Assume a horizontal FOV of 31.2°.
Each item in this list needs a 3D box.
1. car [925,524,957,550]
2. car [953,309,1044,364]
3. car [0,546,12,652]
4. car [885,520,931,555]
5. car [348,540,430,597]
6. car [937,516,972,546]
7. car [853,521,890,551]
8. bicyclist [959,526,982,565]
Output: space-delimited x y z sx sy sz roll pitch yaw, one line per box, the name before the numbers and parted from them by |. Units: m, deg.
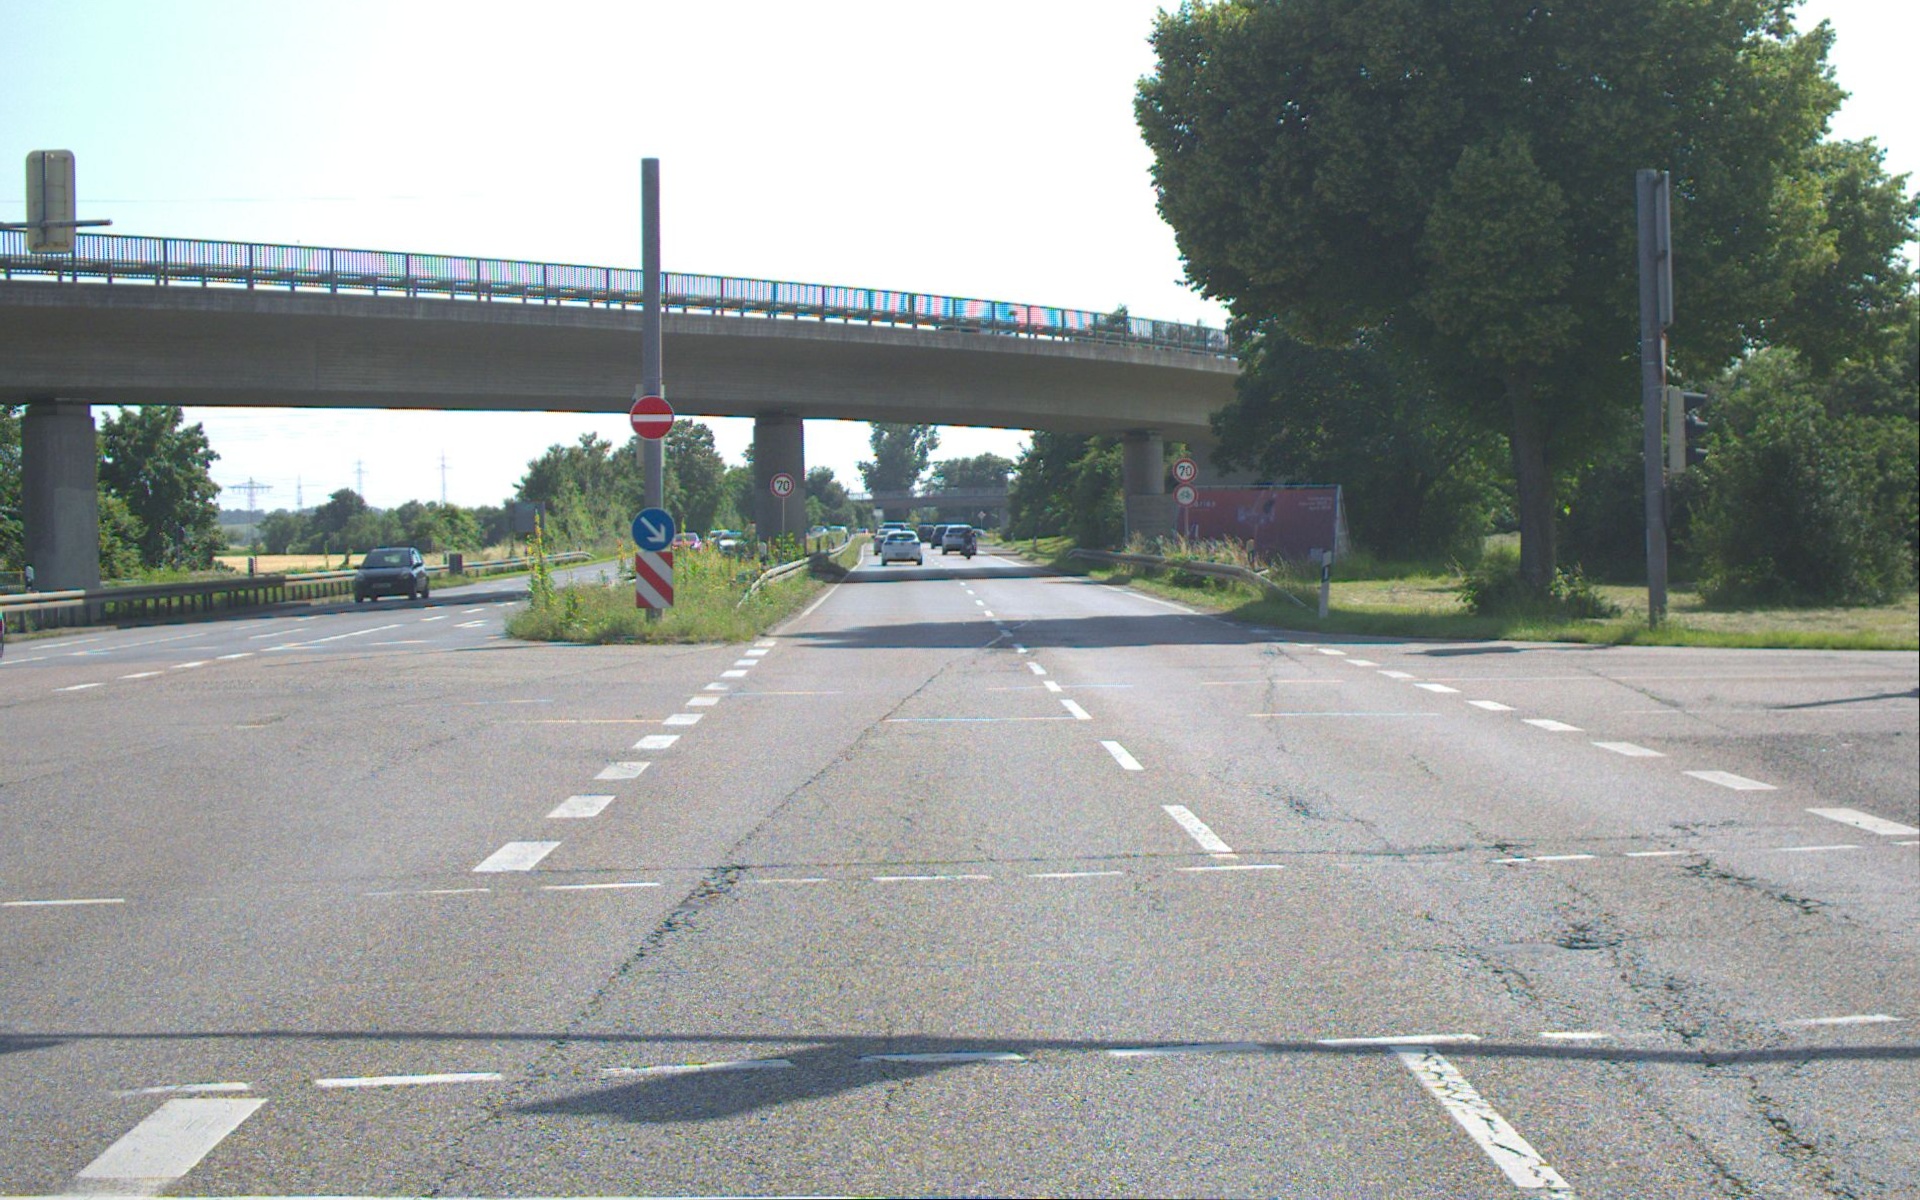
car | -1.258 -4.109 225.672 1.993 1.626 4.000 1 0 -1
car | 1.172 -7.943 103.935 1.321 1.481 3.192 -1 1 30
car | -14.694 0.081 47.786 1.882 1.510 4.148 -4 1 -2
car | -2.181 -2.639 145.201 1.851 1.456 4.000 0 1 1
car | -15.814 -0.897 95.367 1.614 1.437 3.776 -3 1 0
car | -0.313 -3.862 192.060 1.873 1.634 4.000 1 1 1
car | -4.866 -3.539 188.590 1.873 1.634 4.000 0 1 1
bicyclist | 0.512 -2.647 167.625 1.007 1.880 1.327 -2 1 -1
